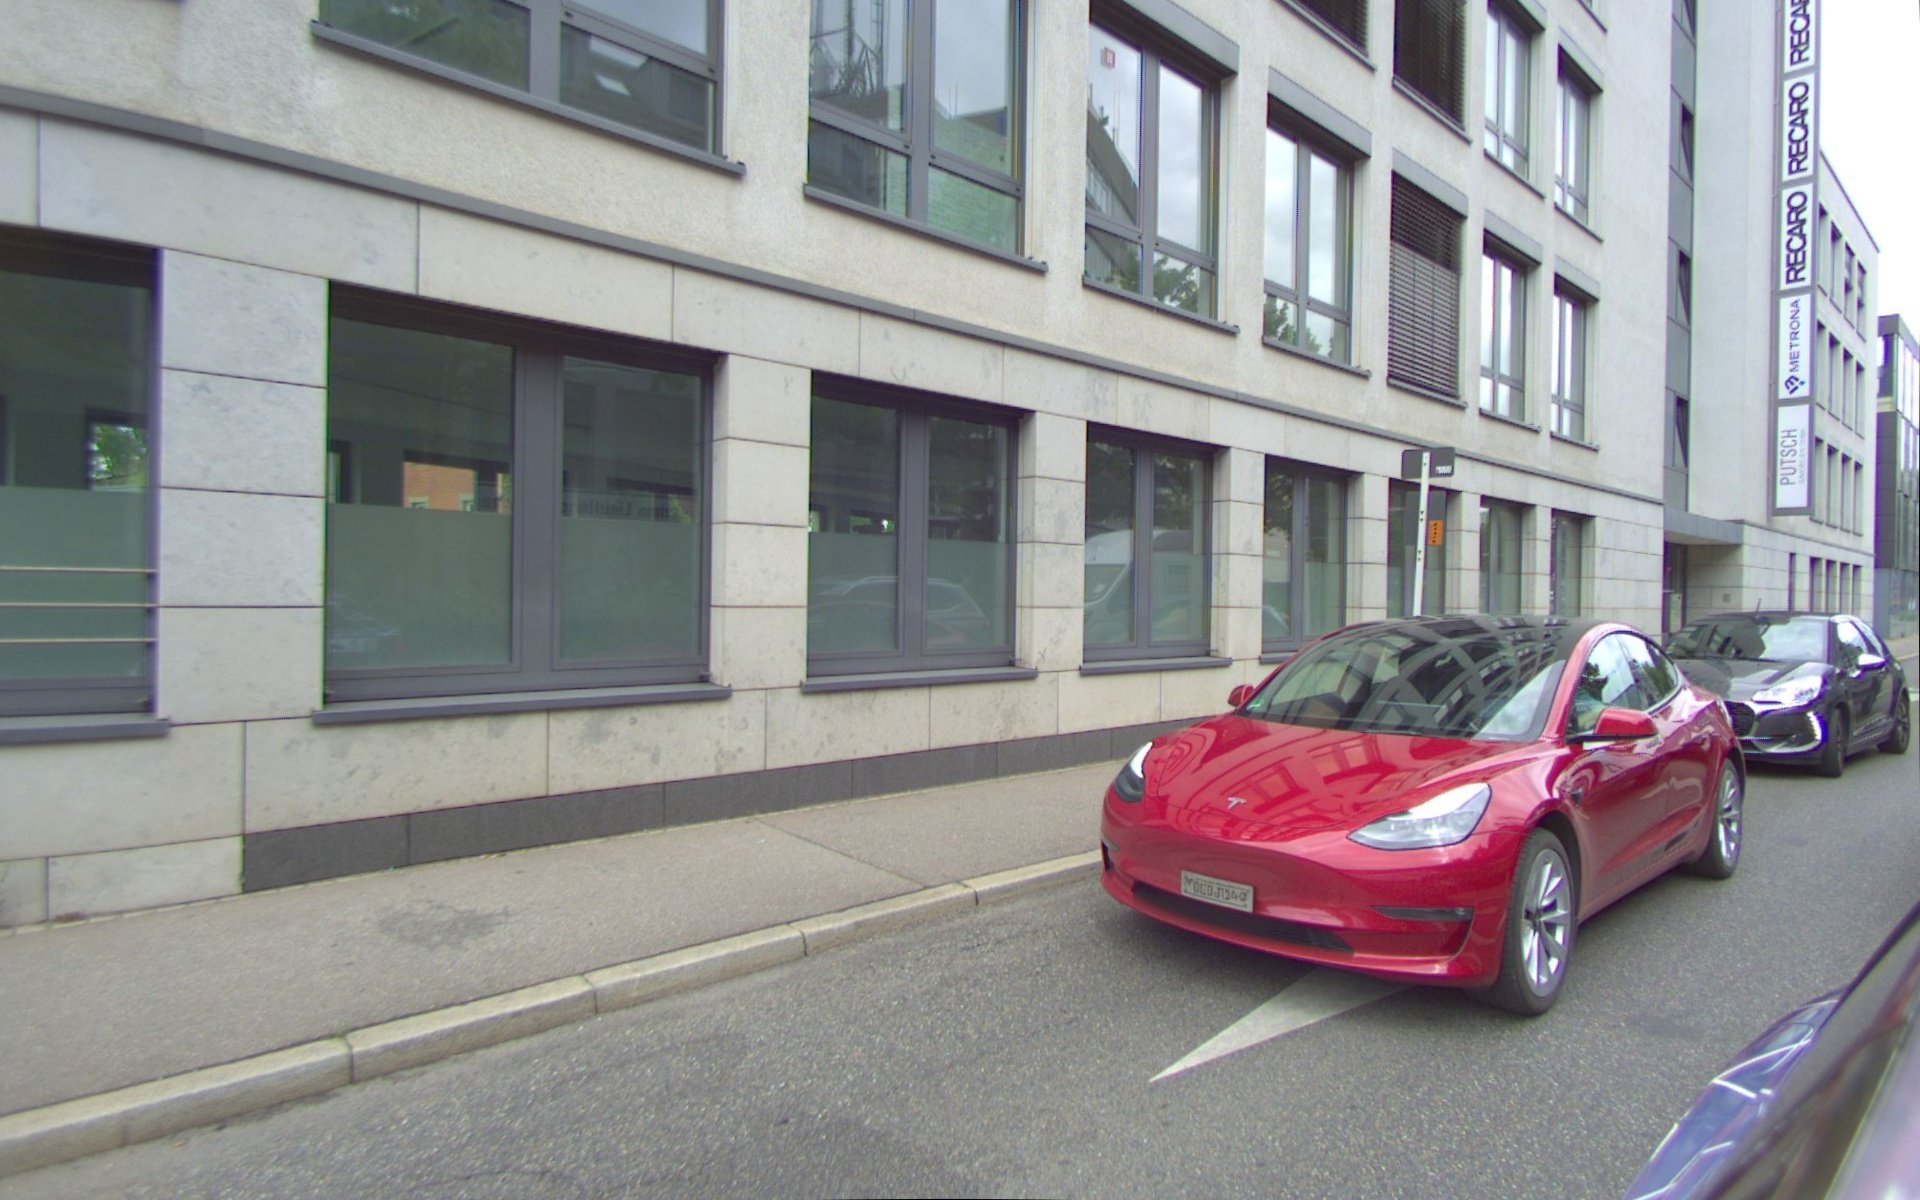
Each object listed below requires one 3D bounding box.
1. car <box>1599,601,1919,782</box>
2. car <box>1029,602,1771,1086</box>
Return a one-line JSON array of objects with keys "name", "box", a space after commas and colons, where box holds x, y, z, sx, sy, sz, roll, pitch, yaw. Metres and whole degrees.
[{"name": "car", "box": [8.237, 0.762, 10.207, 3.986, 1.479, 1.705, 0, -1, -37]}, {"name": "car", "box": [2.540, 0.740, 5.200, 4.366, 1.436, 1.875, 0, -1, -42]}]
